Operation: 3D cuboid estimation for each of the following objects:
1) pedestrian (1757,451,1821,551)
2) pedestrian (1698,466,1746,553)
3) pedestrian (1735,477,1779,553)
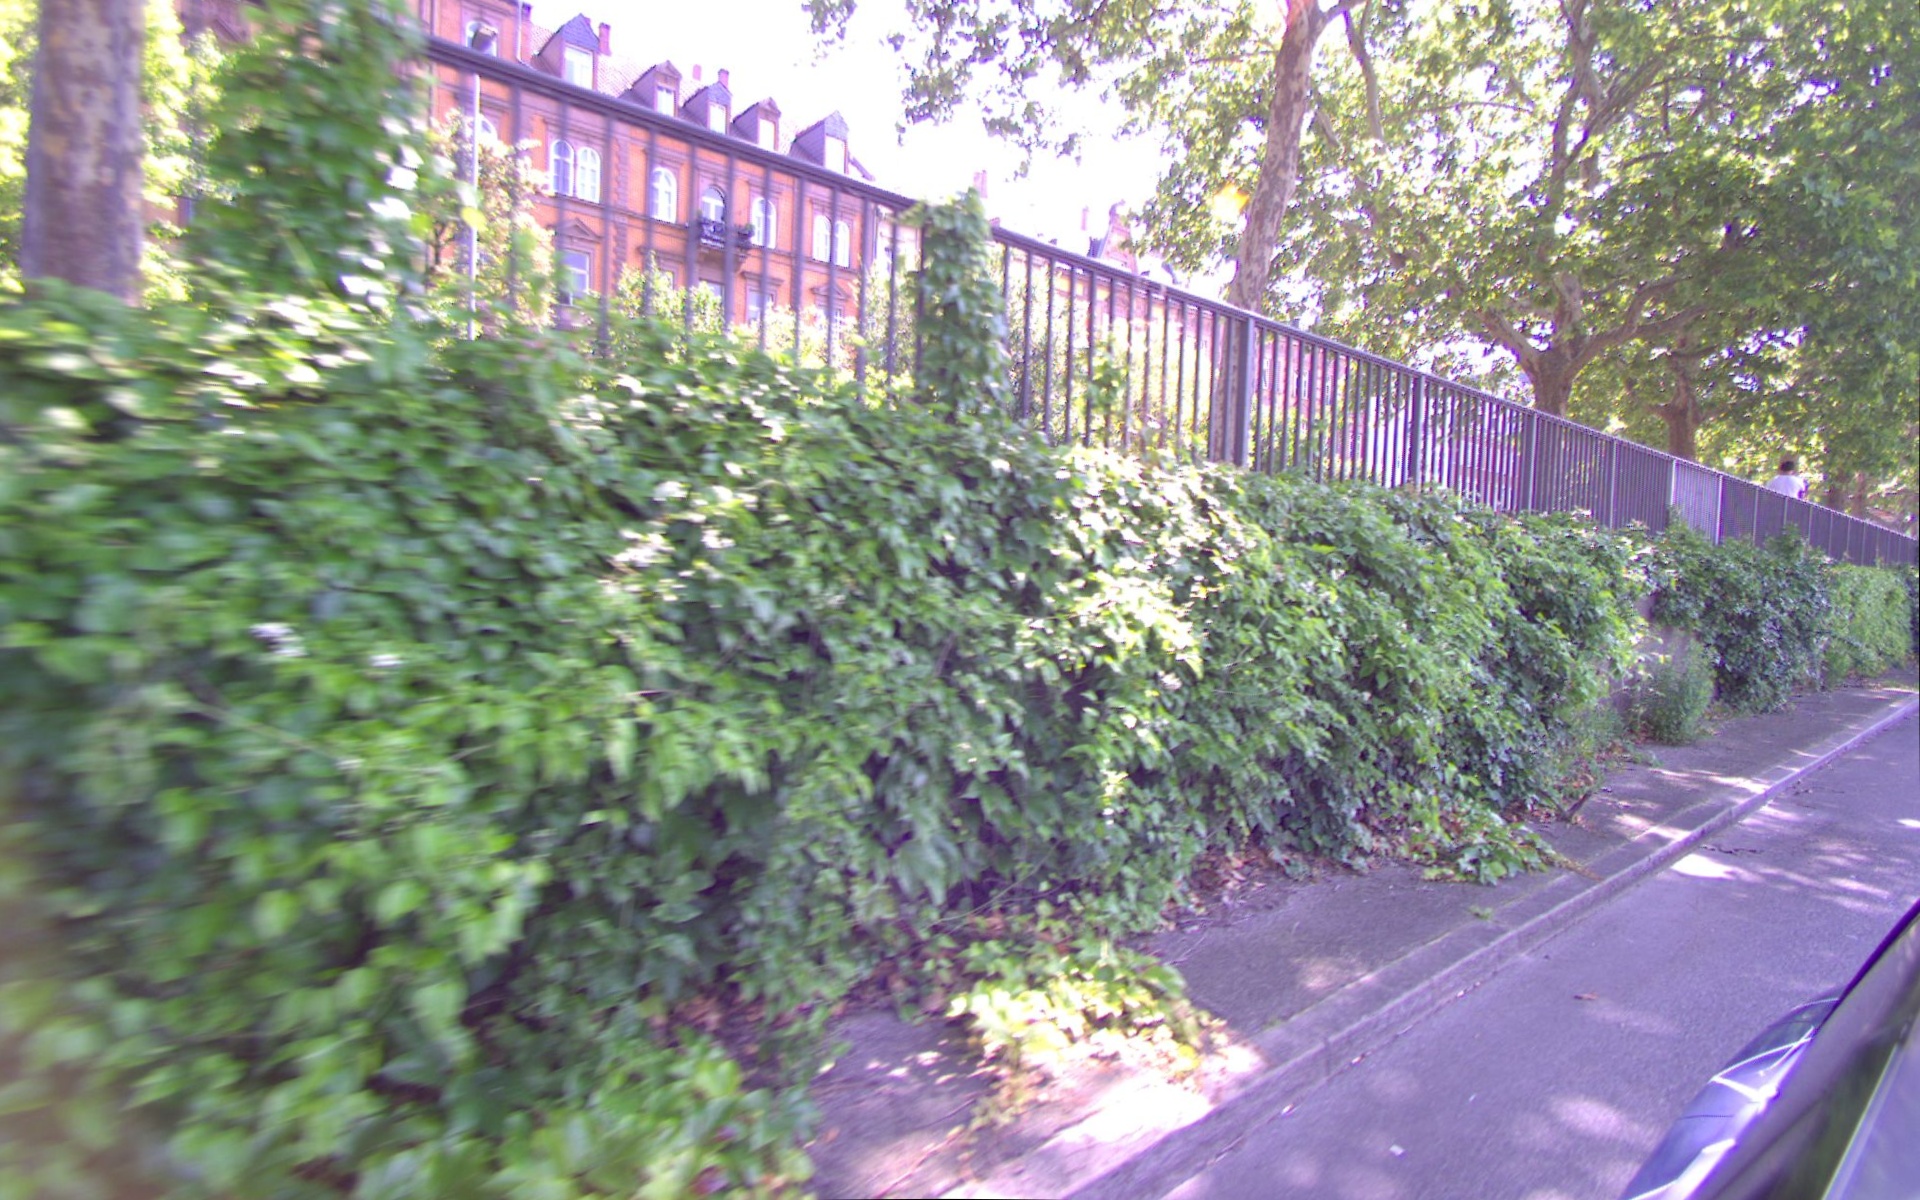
[{"bbox_3d":[13.990,-1.653,17.078,0.639,1.610,0.666,0,3,-42],"label":"pedestrian"},{"bbox_3d":[15.058,-1.786,20.008,0.646,1.660,0.617,4,3,41],"label":"pedestrian"},{"bbox_3d":[15.432,-1.638,19.590,0.584,1.436,0.580,4,3,41],"label":"pedestrian"}]
